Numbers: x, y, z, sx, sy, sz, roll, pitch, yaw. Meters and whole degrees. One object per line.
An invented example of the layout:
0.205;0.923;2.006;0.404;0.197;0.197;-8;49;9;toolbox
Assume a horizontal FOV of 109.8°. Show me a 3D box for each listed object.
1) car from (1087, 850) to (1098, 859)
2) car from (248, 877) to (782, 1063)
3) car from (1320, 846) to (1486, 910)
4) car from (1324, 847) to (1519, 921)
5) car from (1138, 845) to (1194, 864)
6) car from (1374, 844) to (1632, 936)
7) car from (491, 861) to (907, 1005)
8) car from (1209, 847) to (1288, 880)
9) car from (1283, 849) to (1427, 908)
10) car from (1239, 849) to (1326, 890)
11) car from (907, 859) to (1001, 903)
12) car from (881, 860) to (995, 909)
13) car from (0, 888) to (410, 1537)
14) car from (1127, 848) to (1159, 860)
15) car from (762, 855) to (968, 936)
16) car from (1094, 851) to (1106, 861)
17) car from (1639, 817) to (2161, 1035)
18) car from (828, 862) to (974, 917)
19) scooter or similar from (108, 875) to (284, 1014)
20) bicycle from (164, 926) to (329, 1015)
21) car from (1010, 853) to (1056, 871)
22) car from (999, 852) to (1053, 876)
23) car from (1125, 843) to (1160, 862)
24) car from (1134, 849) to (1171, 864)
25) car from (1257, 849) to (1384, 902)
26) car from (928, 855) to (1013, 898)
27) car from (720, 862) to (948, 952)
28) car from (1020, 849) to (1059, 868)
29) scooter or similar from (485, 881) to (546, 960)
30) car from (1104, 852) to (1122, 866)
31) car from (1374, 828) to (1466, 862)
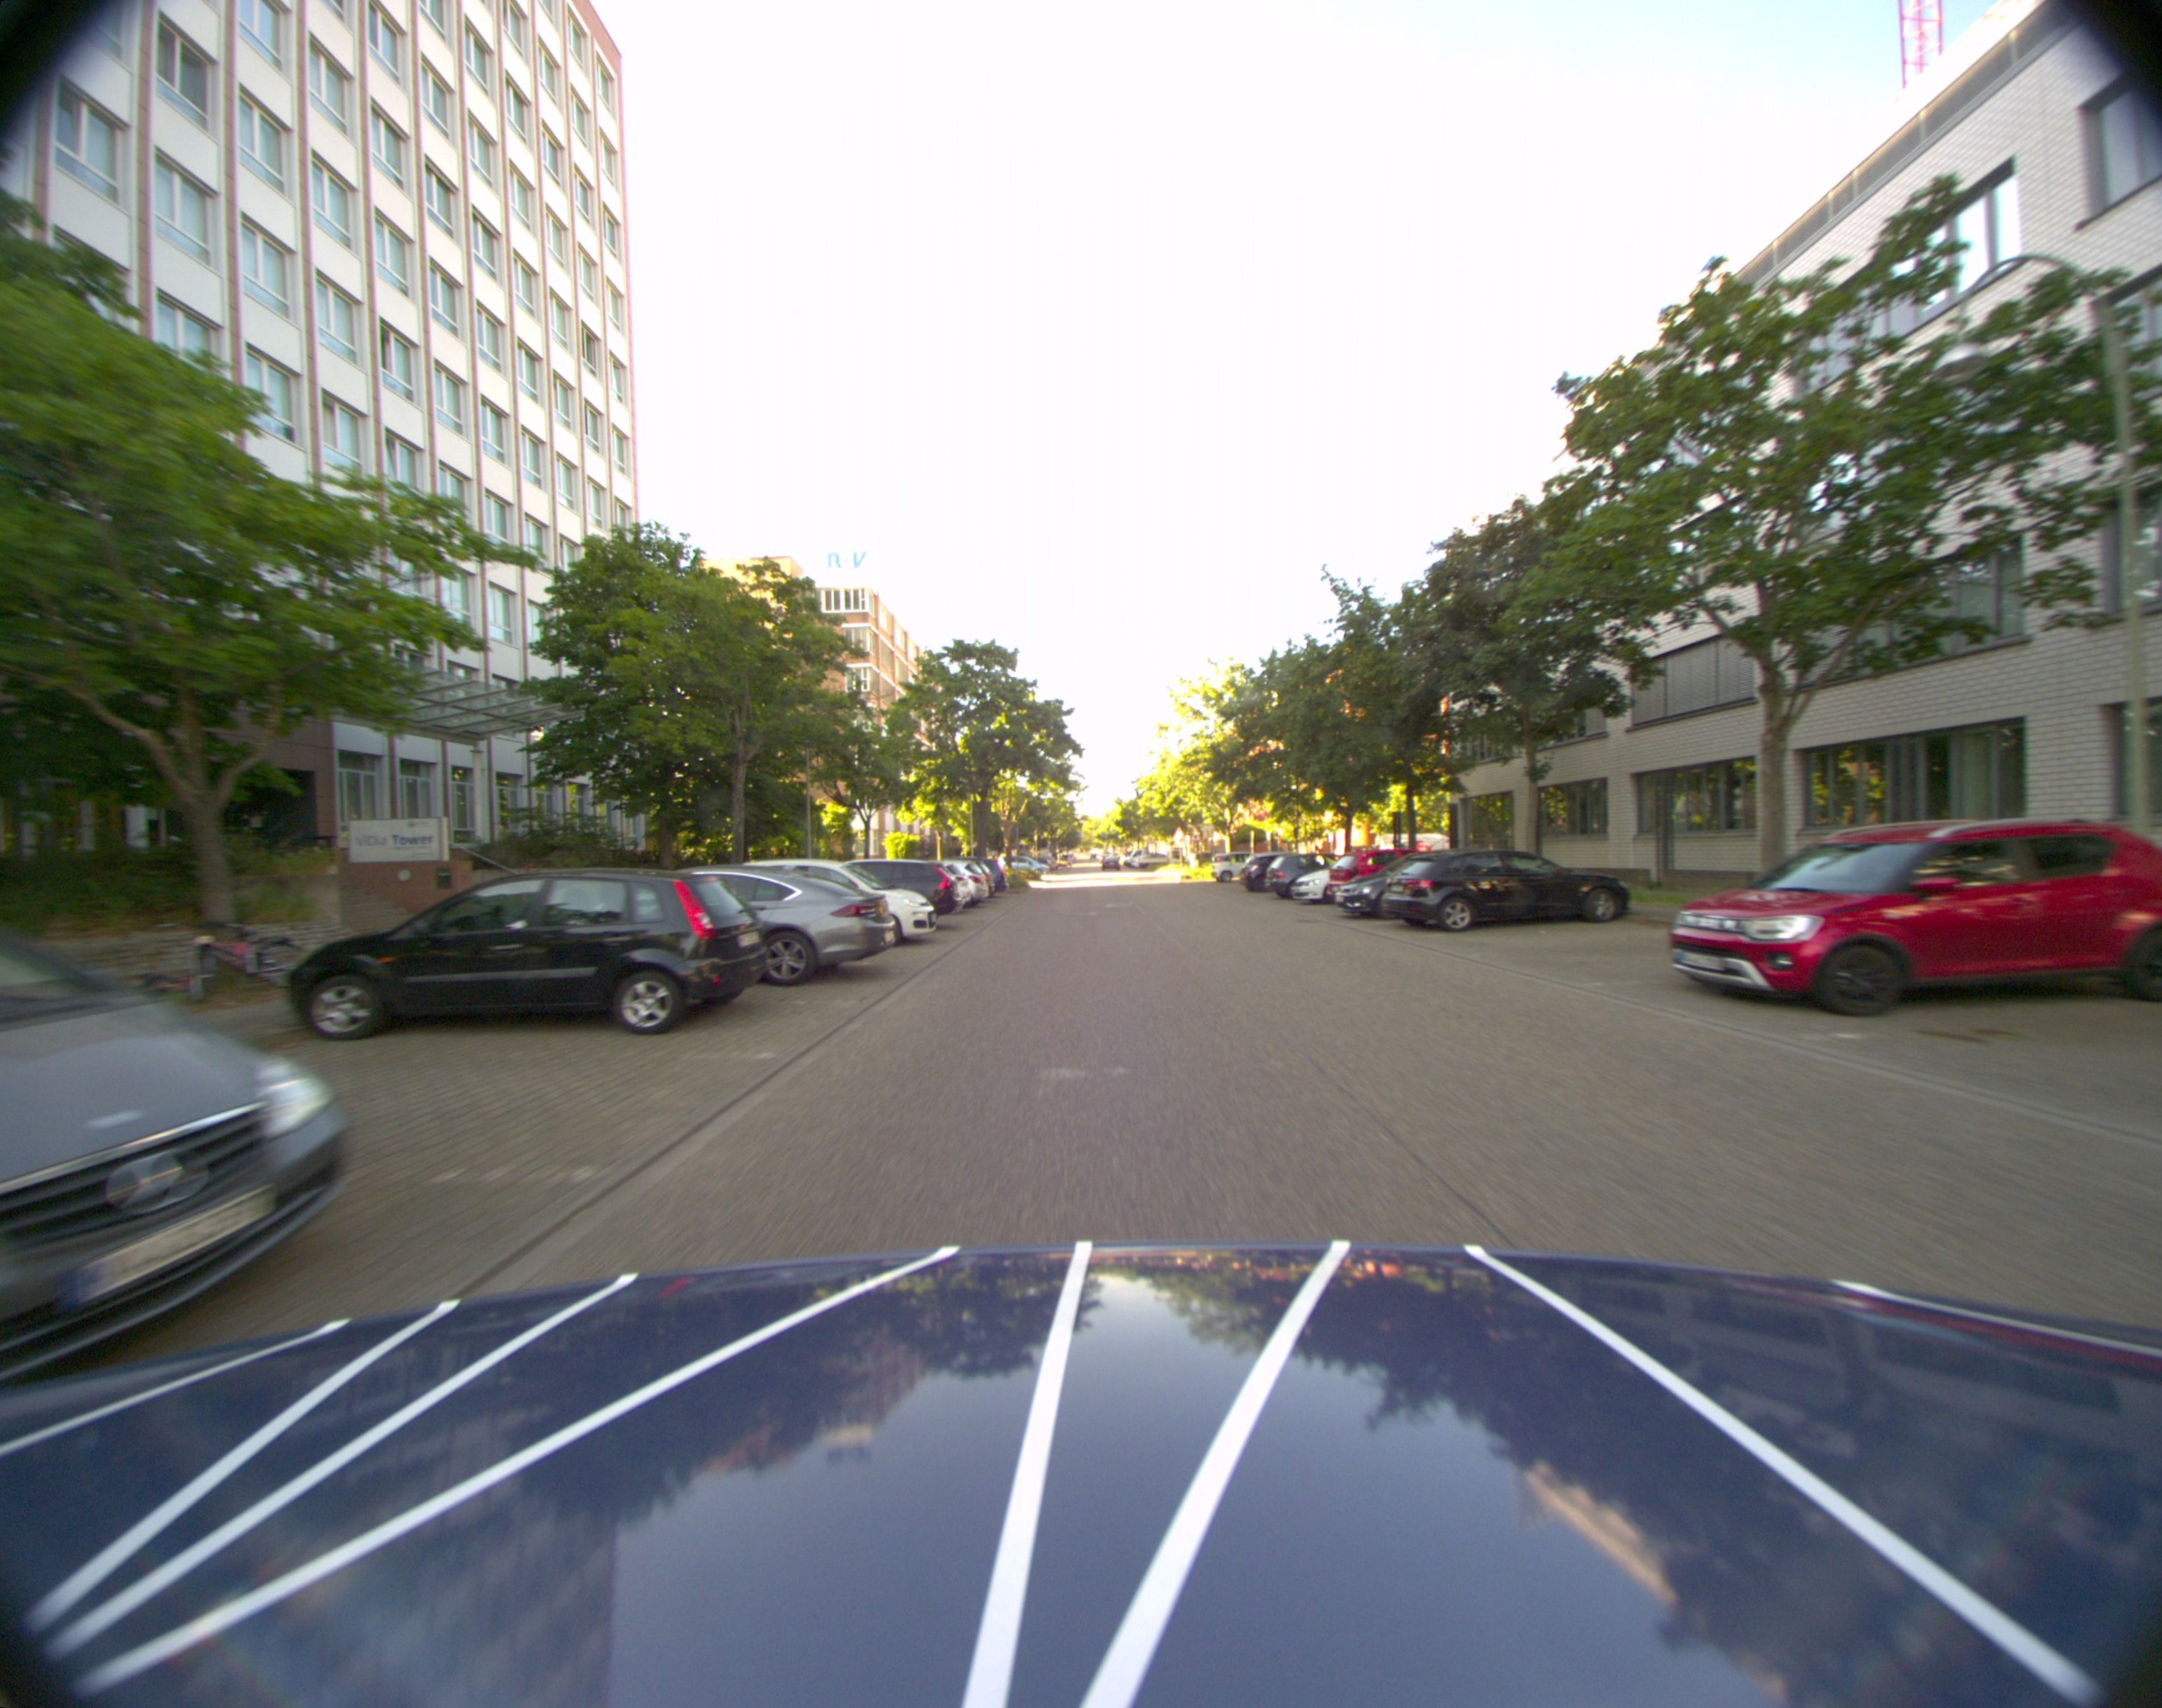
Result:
2.396;0.121;152.710;1.951;1.617;4.001;-2;0;3;car
-5.035;0.984;7.230;3.721;1.472;1.724;0;0;-4;car
8.226;0.583;19.608;3.539;1.437;1.657;-2;1;-3;car
7.458;0.615;16.855;3.539;1.428;1.657;-2;1;-1;car
8.167;0.034;73.326;5.252;1.616;1.953;-2;1;2;car
7.734;0.649;14.180;3.832;1.405;1.687;-3;-1;-1;car
-4.722;0.939;9.922;4.431;1.544;1.859;-2;0;-1;car
8.529;0.467;38.882;3.630;1.499;1.617;-2;1;-1;car
7.874;0.671;22.011;3.527;1.520;1.657;-2;1;-1;car
7.680;0.579;29.079;2.933;1.435;1.389;-2;1;0;car
-4.423;0.928;26.651;2.997;1.451;1.497;0;1;3;car
-4.470;0.941;24.027;3.203;1.471;1.589;0;1;4;car
-4.669;0.933;2.099;3.881;1.556;1.808;0;1;-4;car
7.992;0.005;98.093;3.997;1.406;1.594;-1;1;-2;car
-4.558;0.851;16.490;3.982;1.540;1.683;-1;1;-4;car
3.229;0.313;130.407;1.951;1.555;4.001;-1;0;3;car
7.608;0.590;7.033;3.581;1.658;1.655;-3;1;3;car
-5.004;0.975;21.503;3.754;1.444;1.657;0;1;-1;car
-9.969;0.970;8.623;0.415;1.394;1.314;-2;1;-3;scooter or similar
-8.996;1.230;8.255;0.335;0.769;1.278;-2;0;1;bicycle
-4.375;0.741;70.093;3.996;1.463;1.953;-2;1;2;car
-4.317;0.739;60.102;4.165;1.696;1.999;-2;1;-2;car
7.457;-0.222;92.830;3.997;2.094;1.999;-2;1;-2;car
8.058;0.301;85.473;3.968;1.463;1.953;-2;1;2;car
7.669;0.663;24.516;3.539;1.497;1.646;-2;1;-1;car
-4.289;0.863;29.831;3.053;1.595;1.604;0;1;3;car
-4.380;0.911;13.880;3.582;1.498;1.724;0;1;-1;car
-4.291;0.488;78.401;3.998;1.774;1.952;-2;1;-4;car
-9.313;1.063;12.550;0.272;1.179;1.246;-2;1;-13;scooter or similar
3.314;0.470;78.154;1.766;1.365;4.001;-2;0;3;car
23.013;-0.623;51.689;5.329;2.087;1.932;-2;1;-2;car
